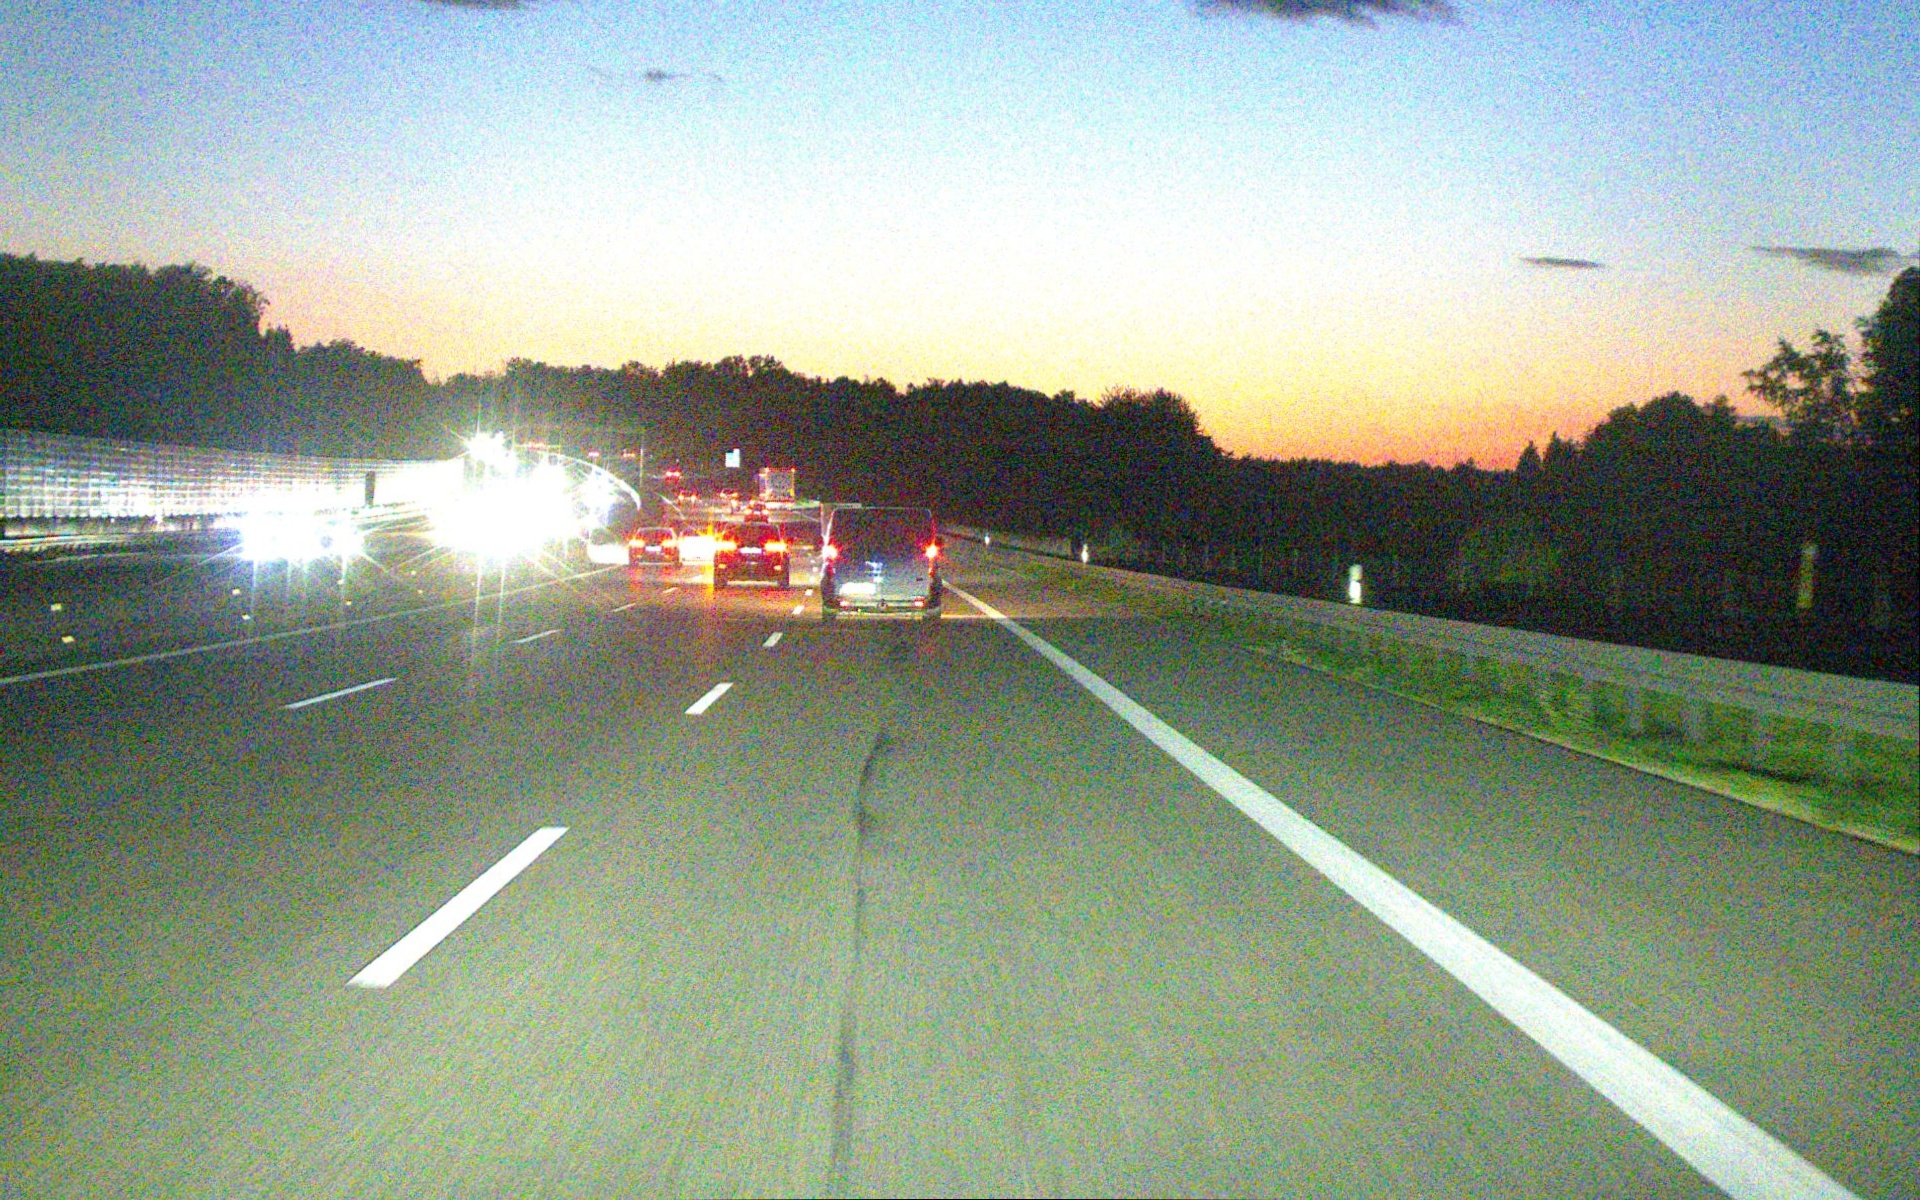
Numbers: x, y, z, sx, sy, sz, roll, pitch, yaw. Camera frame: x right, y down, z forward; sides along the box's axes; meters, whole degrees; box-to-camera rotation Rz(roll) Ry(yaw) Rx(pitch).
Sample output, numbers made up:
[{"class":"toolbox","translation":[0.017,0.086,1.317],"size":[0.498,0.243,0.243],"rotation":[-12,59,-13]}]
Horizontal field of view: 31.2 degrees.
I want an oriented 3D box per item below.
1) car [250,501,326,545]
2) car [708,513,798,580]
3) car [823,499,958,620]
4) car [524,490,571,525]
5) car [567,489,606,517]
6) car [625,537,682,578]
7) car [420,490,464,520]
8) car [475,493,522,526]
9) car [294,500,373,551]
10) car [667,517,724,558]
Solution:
[{"class":"car","translation":[-27.364,-3.129,140.150],"size":[2.104,1.682,5.387],"rotation":[1,1,-1]},{"class":"car","translation":[-5.401,-1.382,90.370],"size":[1.993,1.715,5.942],"rotation":[0,0,0]},{"class":"car","translation":[-1.191,-0.720,58.015],"size":[2.196,1.948,4.764],"rotation":[0,1,-2]},{"class":"car","translation":[-22.322,-5.004,186.137],"size":[2.104,1.783,4.320],"rotation":[1,1,-1]},{"class":"car","translation":[-24.526,-6.364,225.964],"size":[2.104,1.783,4.870],"rotation":[1,2,-1]},{"class":"car","translation":[-10.965,-1.496,123.198],"size":[1.550,1.426,5.514],"rotation":[0,0,0]},{"class":"car","translation":[-32.641,-5.977,216.821],"size":[2.104,1.783,4.869],"rotation":[1,1,-1]},{"class":"car","translation":[-26.484,-5.202,197.417],"size":[2.104,1.783,4.870],"rotation":[1,2,-1]},{"class":"car","translation":[-22.718,-2.687,124.834],"size":[2.104,1.783,4.659],"rotation":[1,1,-1]},{"class":"car","translation":[-10.366,-2.473,134.996],"size":[1.779,1.481,5.254],"rotation":[-1,2,1]}]
